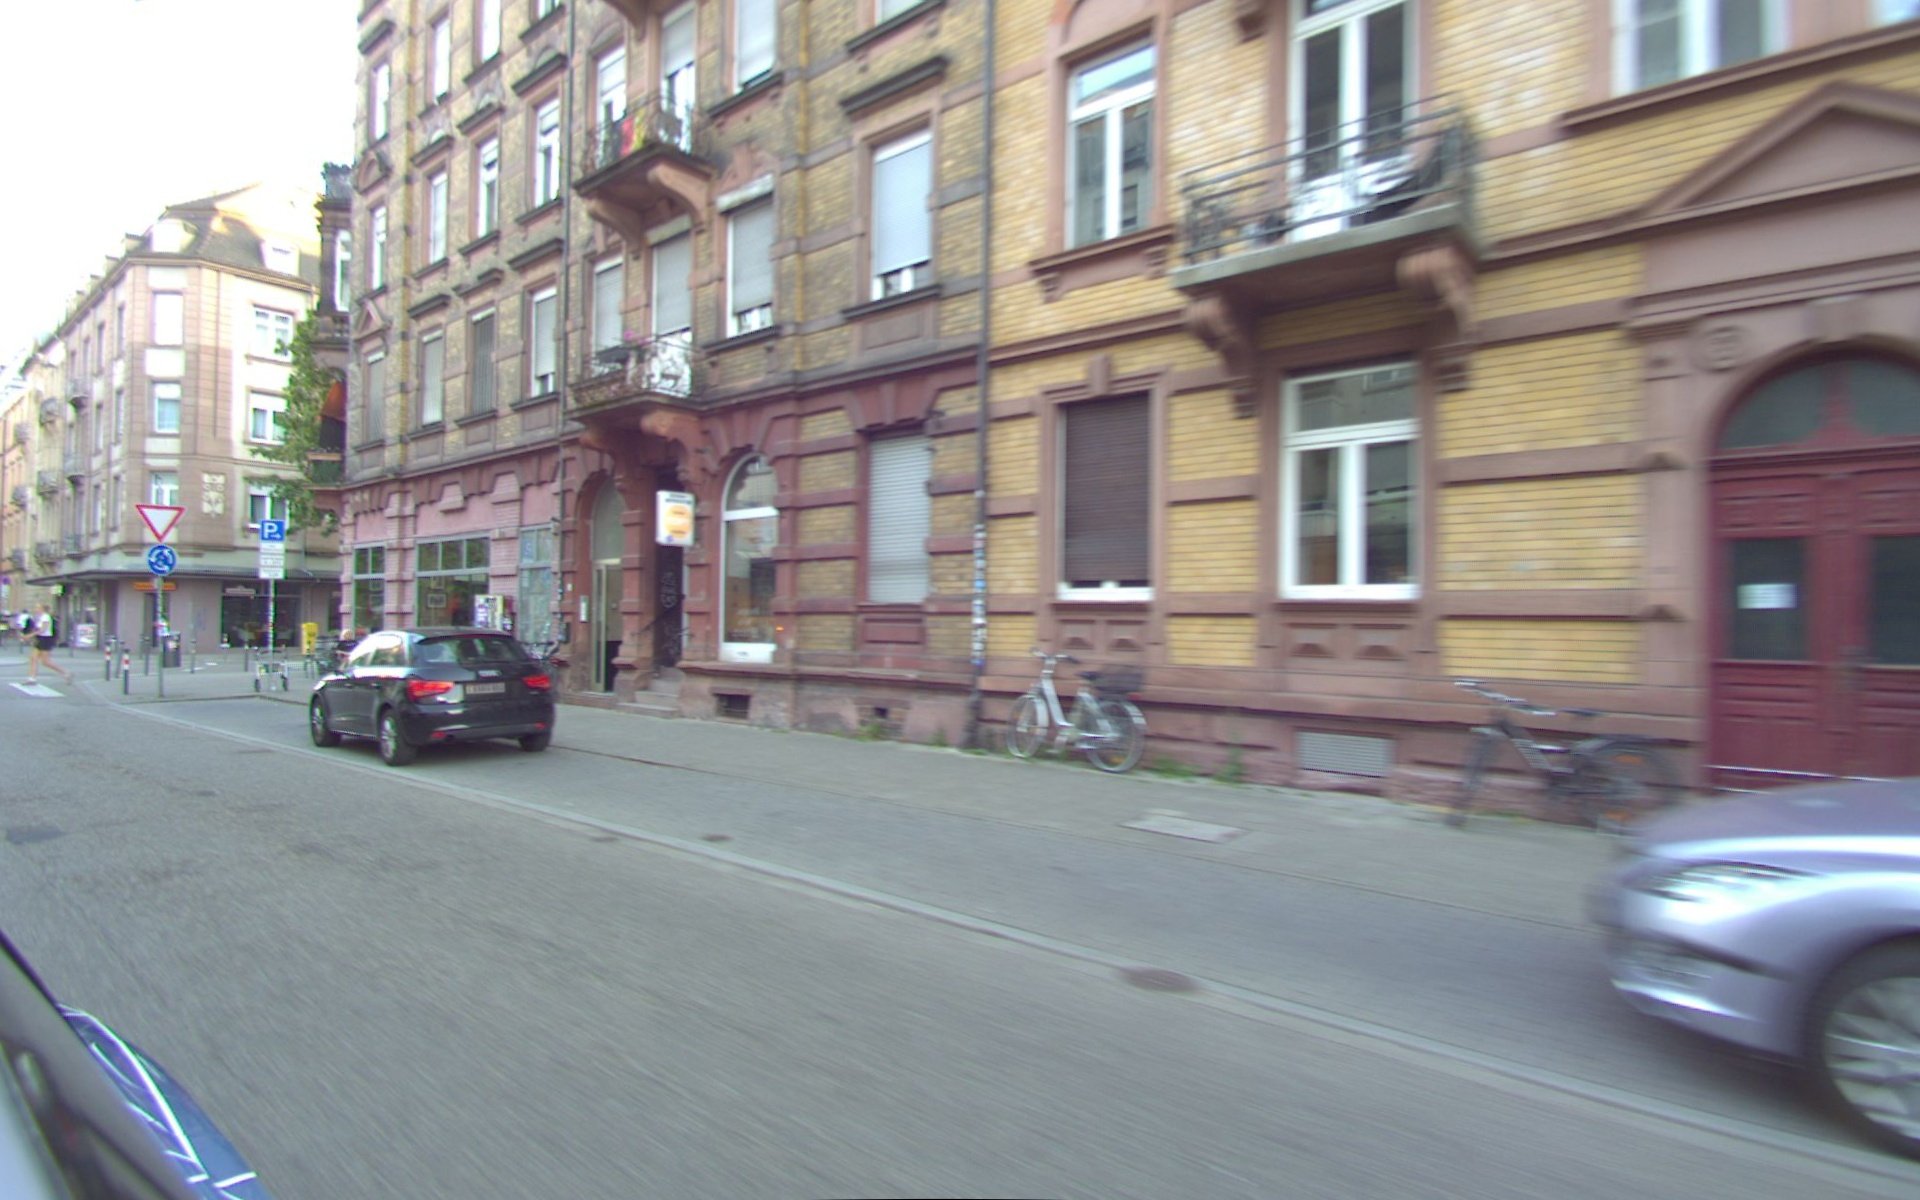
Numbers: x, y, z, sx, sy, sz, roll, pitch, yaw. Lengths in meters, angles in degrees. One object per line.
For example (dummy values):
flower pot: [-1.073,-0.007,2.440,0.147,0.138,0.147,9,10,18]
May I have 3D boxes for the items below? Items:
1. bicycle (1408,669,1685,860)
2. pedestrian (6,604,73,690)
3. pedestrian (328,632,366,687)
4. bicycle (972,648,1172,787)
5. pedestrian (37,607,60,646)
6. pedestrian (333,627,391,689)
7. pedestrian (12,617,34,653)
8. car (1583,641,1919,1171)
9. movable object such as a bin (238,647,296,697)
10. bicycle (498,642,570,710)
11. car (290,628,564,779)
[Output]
bicycle: [4.105,1.090,7.153,1.606,1.132,0.732,-1,-1,34]
pedestrian: [-20.151,1.023,22.178,1.032,1.825,0.757,0,-3,-39]
pedestrian: [-13.529,1.294,22.327,0.791,1.152,0.498,1,0,42]
bicycle: [1.052,1.095,9.957,2.048,1.180,0.521,-1,0,44]
pedestrian: [-41.880,1.216,46.513,0.645,1.792,0.694,0,-2,-32]
pedestrian: [-12.784,1.234,21.633,0.903,1.264,0.644,-1,1,25]
pedestrian: [-45.991,1.712,49.683,1.213,1.757,0.738,-1,-1,45]
car: [4.376,0.892,2.559,4.579,1.431,1.705,0,0,40]
movable object such as a bin: [-13.875,1.424,20.255,0.728,0.922,0.754,1,0,37]
bicycle: [-7.296,1.267,17.295,1.898,1.061,0.420,-1,-1,44]
car: [-6.314,1.062,11.813,3.854,1.431,1.675,-1,-1,43]
